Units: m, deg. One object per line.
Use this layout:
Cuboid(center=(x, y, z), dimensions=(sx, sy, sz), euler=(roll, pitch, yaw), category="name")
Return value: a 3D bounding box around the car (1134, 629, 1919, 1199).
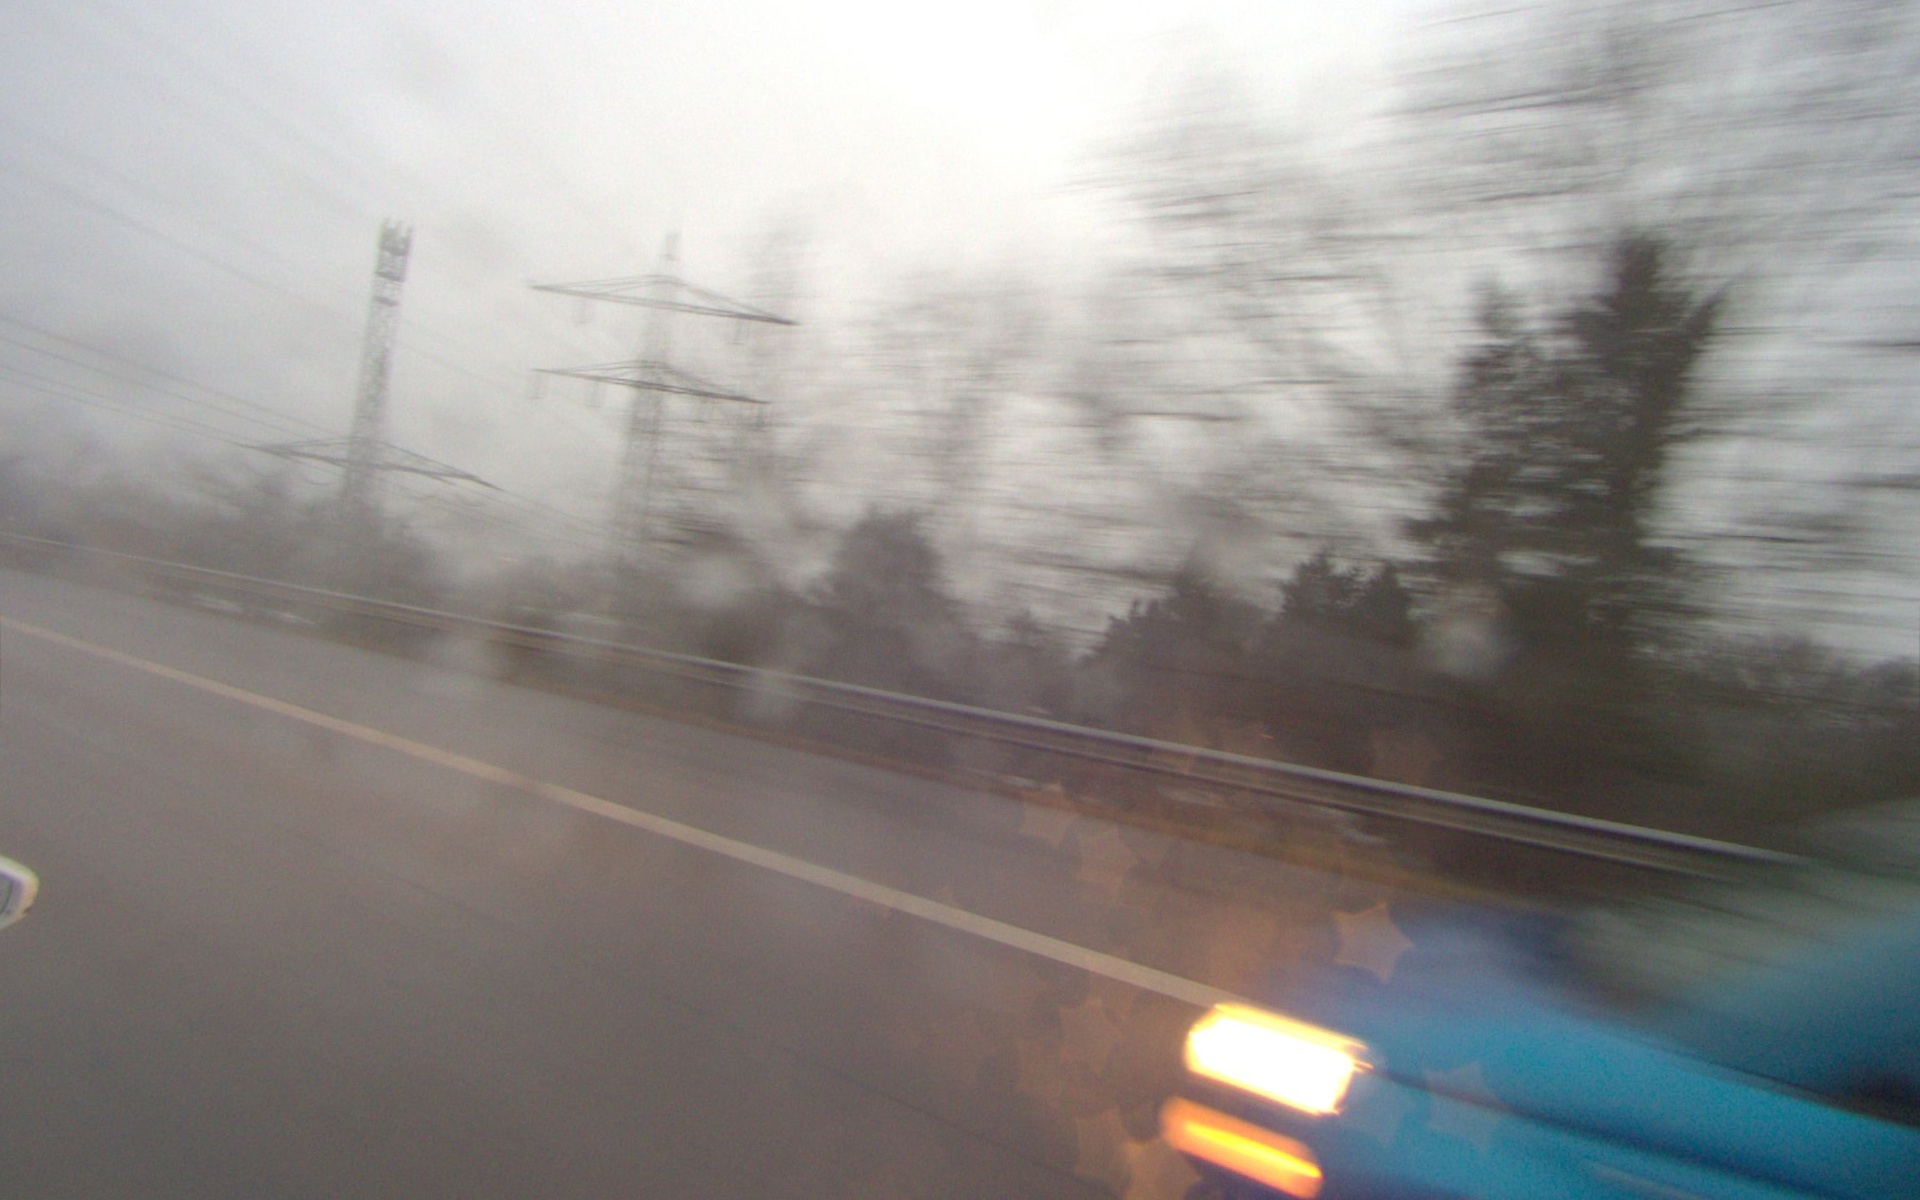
Cuboid(center=(2.570, 1.042, 1.664), dimensions=(4.080, 1.470, 1.849), euler=(5, -2, 31), category="car")
